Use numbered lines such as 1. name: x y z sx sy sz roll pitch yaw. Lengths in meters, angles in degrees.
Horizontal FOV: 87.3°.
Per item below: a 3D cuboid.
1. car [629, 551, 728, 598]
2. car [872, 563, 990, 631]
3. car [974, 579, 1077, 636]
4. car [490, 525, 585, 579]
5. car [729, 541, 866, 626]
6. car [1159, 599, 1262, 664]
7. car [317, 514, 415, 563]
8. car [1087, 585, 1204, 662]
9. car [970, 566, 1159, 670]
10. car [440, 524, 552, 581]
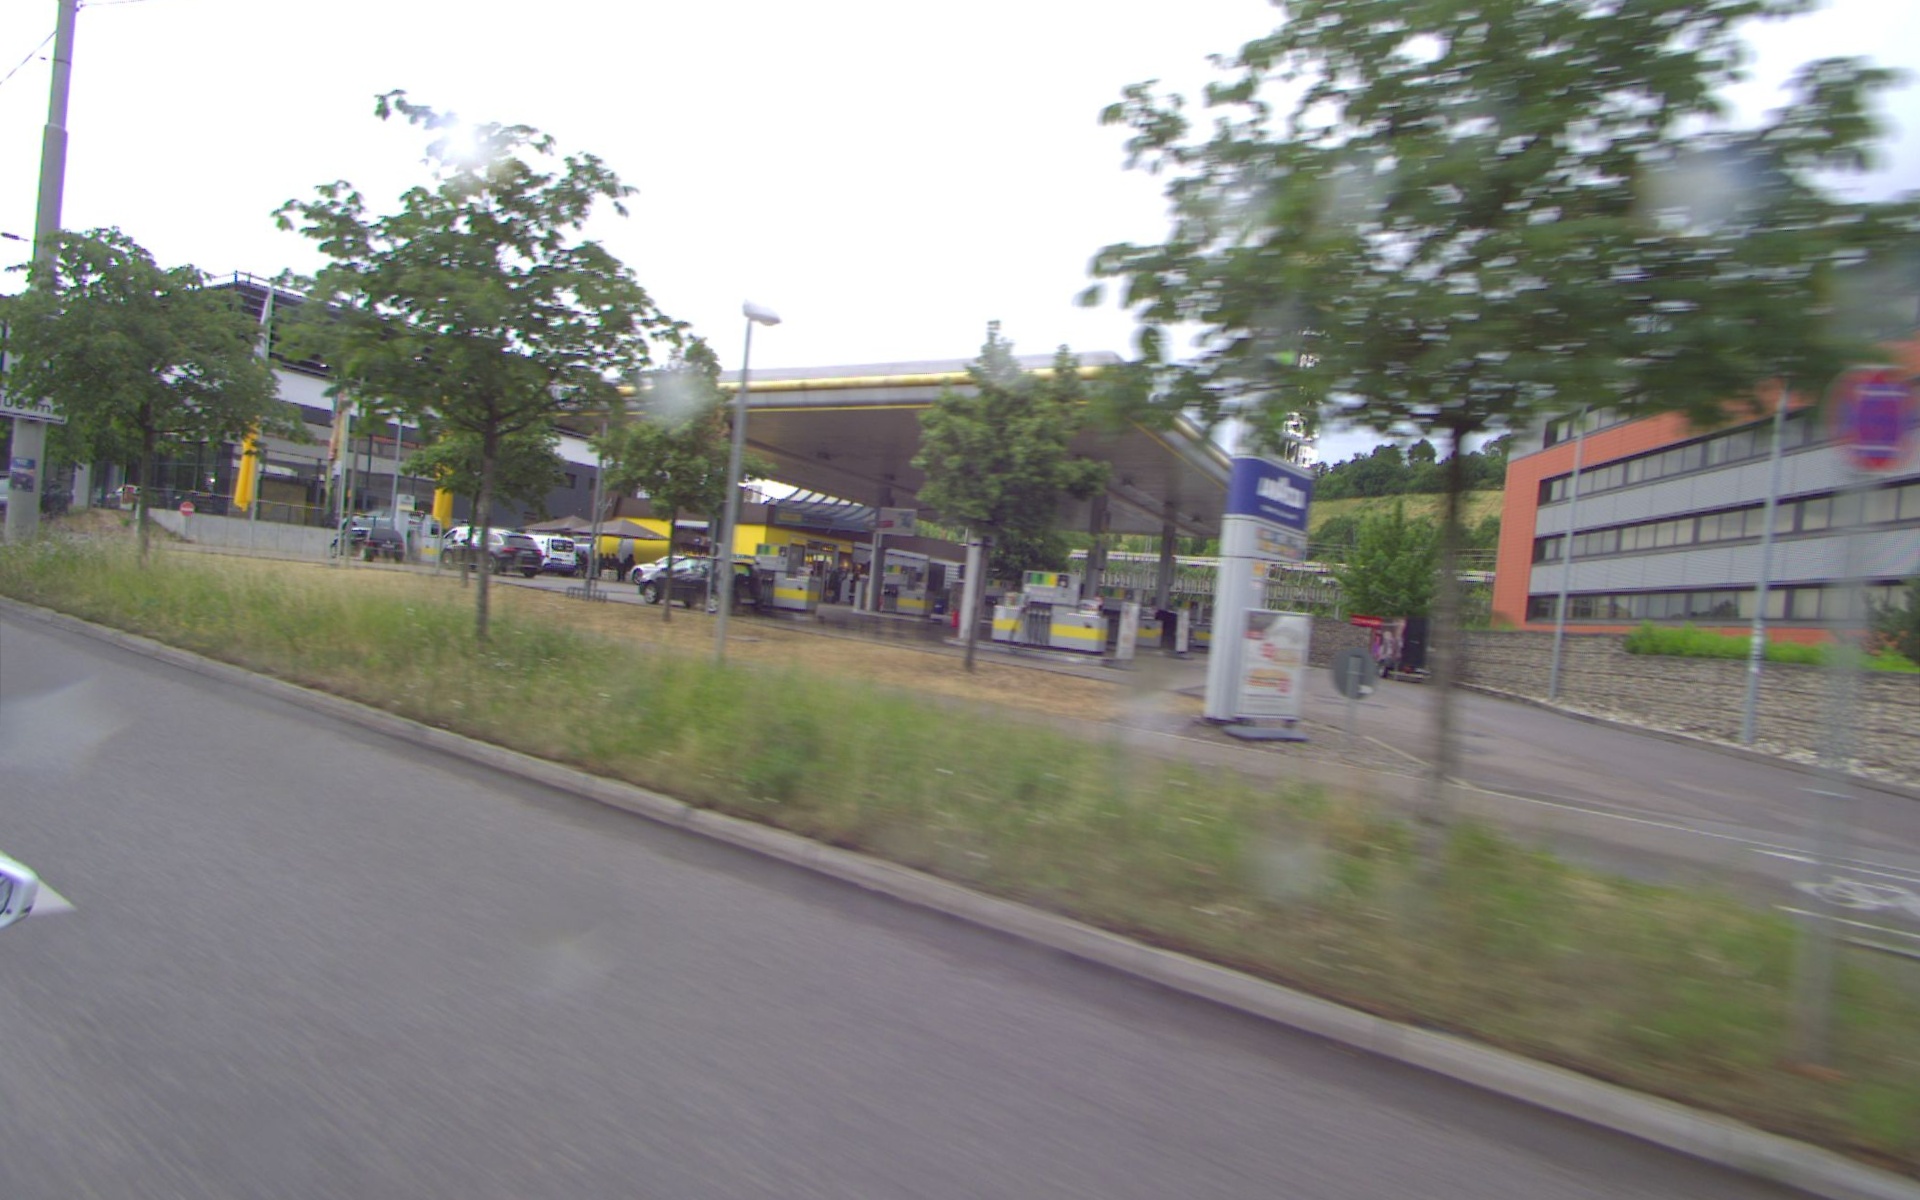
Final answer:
1. car: -12.542 -1.118 44.725 3.934 1.616 1.995 7 1 32
2. car: -1.077 -0.121 37.253 3.709 2.037 1.875 6 -2 29
3. car: 2.940 0.323 45.067 3.931 2.037 1.999 6 -2 29
4. car: -19.433 -2.210 46.234 3.934 2.039 1.995 7 1 32
5. car: -4.725 -0.482 29.210 3.482 2.037 1.683 6 -2 31
6. car: 10.011 1.254 40.258 3.492 2.138 1.695 6 -2 29
7. car: -24.549 -2.548 41.572 3.934 1.612 1.793 7 1 32
8. car: 5.955 0.754 32.331 3.086 2.037 1.678 6 -2 32
9. car: 2.516 0.424 24.398 3.933 2.058 1.995 6 1 31
10. car: -18.053 -1.835 39.102 3.934 1.750 1.995 7 1 32
